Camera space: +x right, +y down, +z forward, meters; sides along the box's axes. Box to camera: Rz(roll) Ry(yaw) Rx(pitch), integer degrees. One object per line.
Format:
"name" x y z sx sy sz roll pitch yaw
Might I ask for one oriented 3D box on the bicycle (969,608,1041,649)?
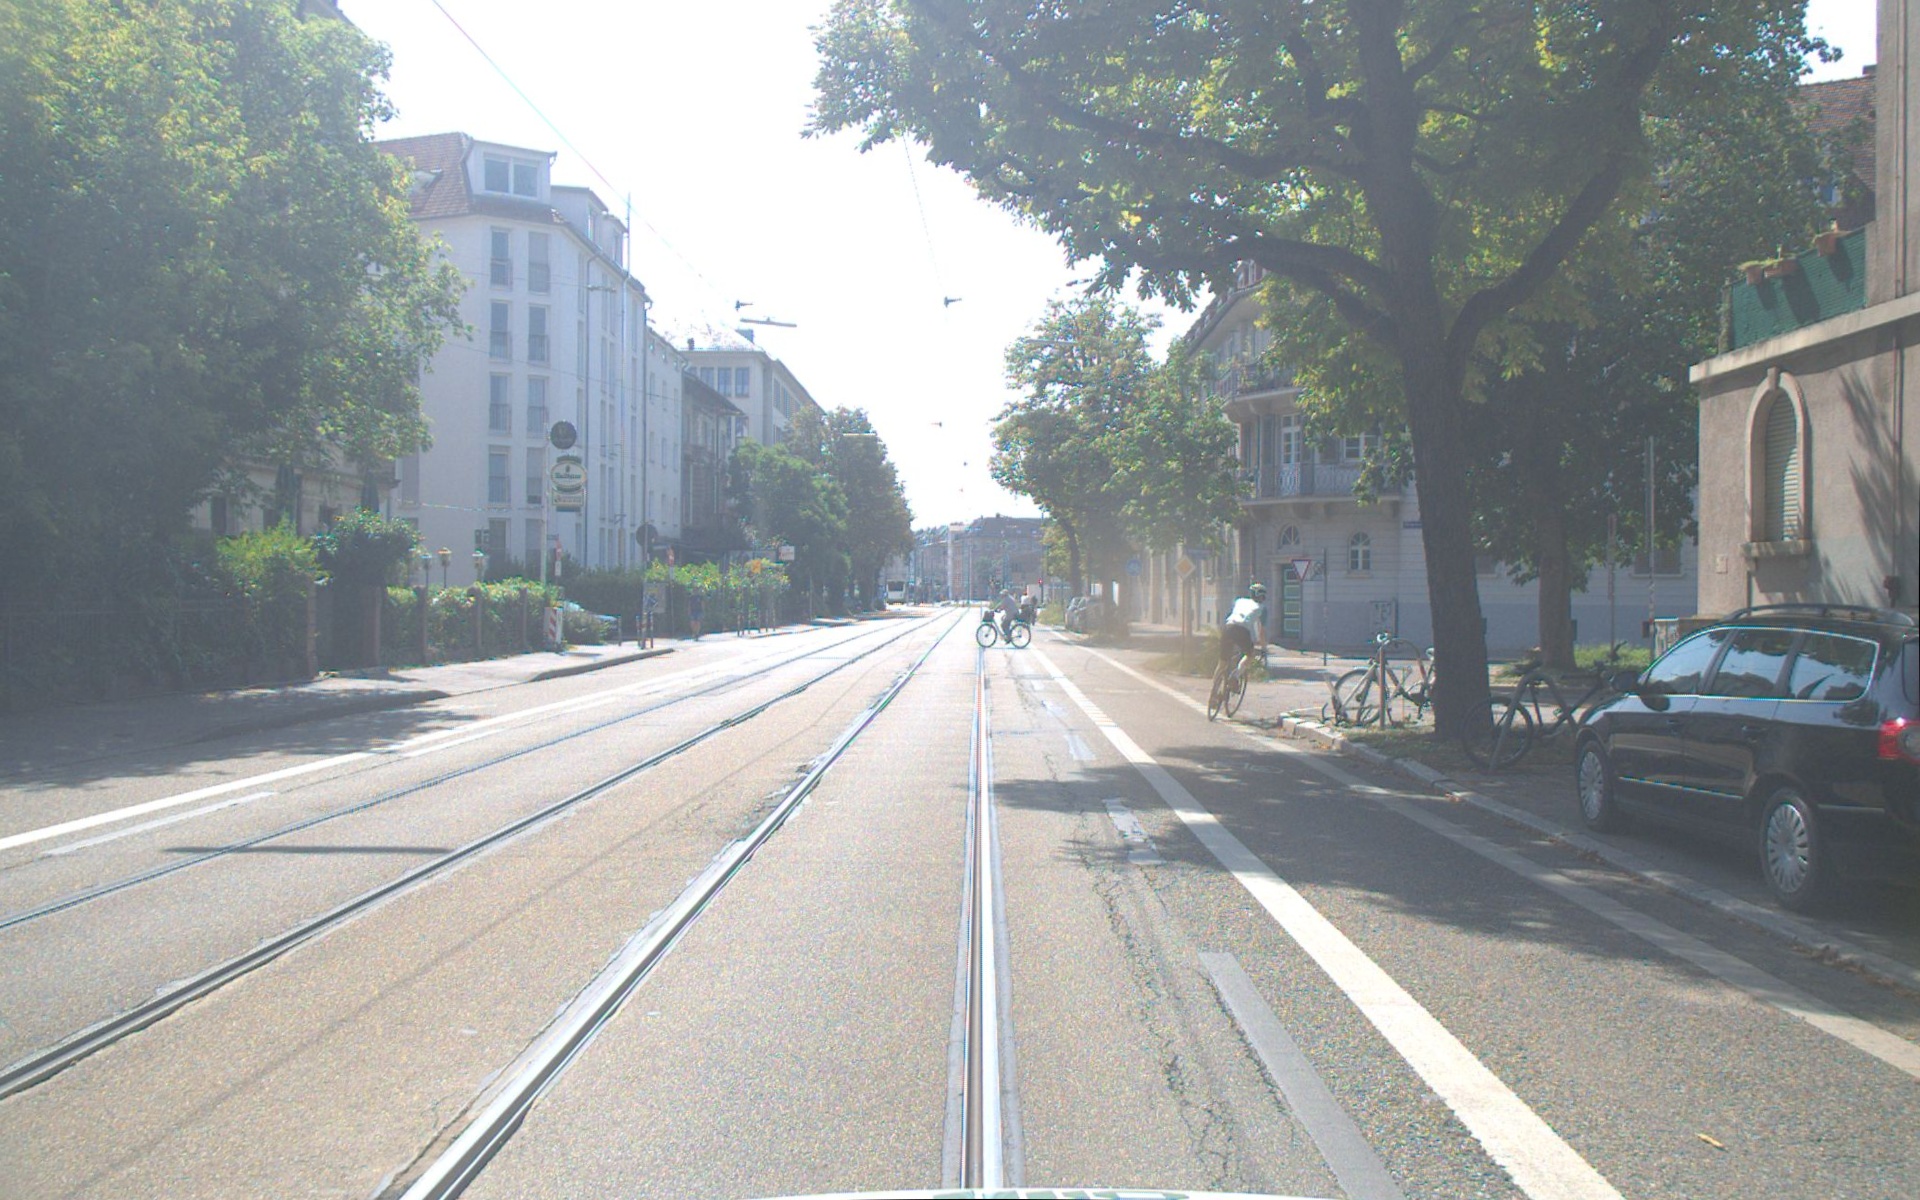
"bicycle" 1.341 0.823 48.920 1.995 1.171 0.784 0 0 28

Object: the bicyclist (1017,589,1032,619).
"bicyclist" 3.112 0.193 79.829 0.743 1.416 0.779 0 -1 3

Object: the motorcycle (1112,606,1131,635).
"motorcycle" 5.973 0.751 61.209 0.537 1.086 2.330 0 0 1

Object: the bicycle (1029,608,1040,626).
"bicycle" 3.968 0.904 87.600 0.575 0.955 2.172 0 0 3

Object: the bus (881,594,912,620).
"bus" -8.684 0.989 227.242 3.658 3.423 15.118 0 0 0

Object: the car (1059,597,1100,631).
"car" 5.414 0.648 75.465 1.551 1.490 3.466 0 -1 -1

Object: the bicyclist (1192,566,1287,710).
"bicyclist" 3.743 0.500 22.105 1.102 1.869 0.956 0 -1 19

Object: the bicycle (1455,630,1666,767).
"bicycle" 5.218 0.847 14.429 1.686 1.156 0.377 0 0 7

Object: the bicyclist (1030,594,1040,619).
"bicyclist" 3.966 0.361 87.529 0.567 1.301 0.471 0 -1 3

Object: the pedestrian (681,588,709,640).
"pedestrian" -9.141 0.486 57.080 0.763 1.787 1.040 -1 -1 1

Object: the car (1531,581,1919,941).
"car" 5.042 0.685 9.593 1.803 1.559 4.780 -1 0 0

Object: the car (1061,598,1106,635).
"car" 5.036 0.696 67.818 1.551 1.490 3.414 0 -1 -1

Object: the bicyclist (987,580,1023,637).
"bicyclist" 1.324 0.255 48.926 0.808 1.671 0.784 0 0 28

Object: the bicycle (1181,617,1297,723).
"bicycle" 3.784 0.888 22.199 1.124 1.291 2.713 0 0 19

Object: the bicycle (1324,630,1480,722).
"bicycle" 5.140 0.880 19.301 1.677 1.050 0.566 0 0 1

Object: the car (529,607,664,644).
"car" -12.532 0.876 57.114 4.142 1.205 2.000 -1 -1 21

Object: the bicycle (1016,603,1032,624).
"bicycle" 3.109 0.664 79.793 0.743 1.008 2.299 0 0 3
